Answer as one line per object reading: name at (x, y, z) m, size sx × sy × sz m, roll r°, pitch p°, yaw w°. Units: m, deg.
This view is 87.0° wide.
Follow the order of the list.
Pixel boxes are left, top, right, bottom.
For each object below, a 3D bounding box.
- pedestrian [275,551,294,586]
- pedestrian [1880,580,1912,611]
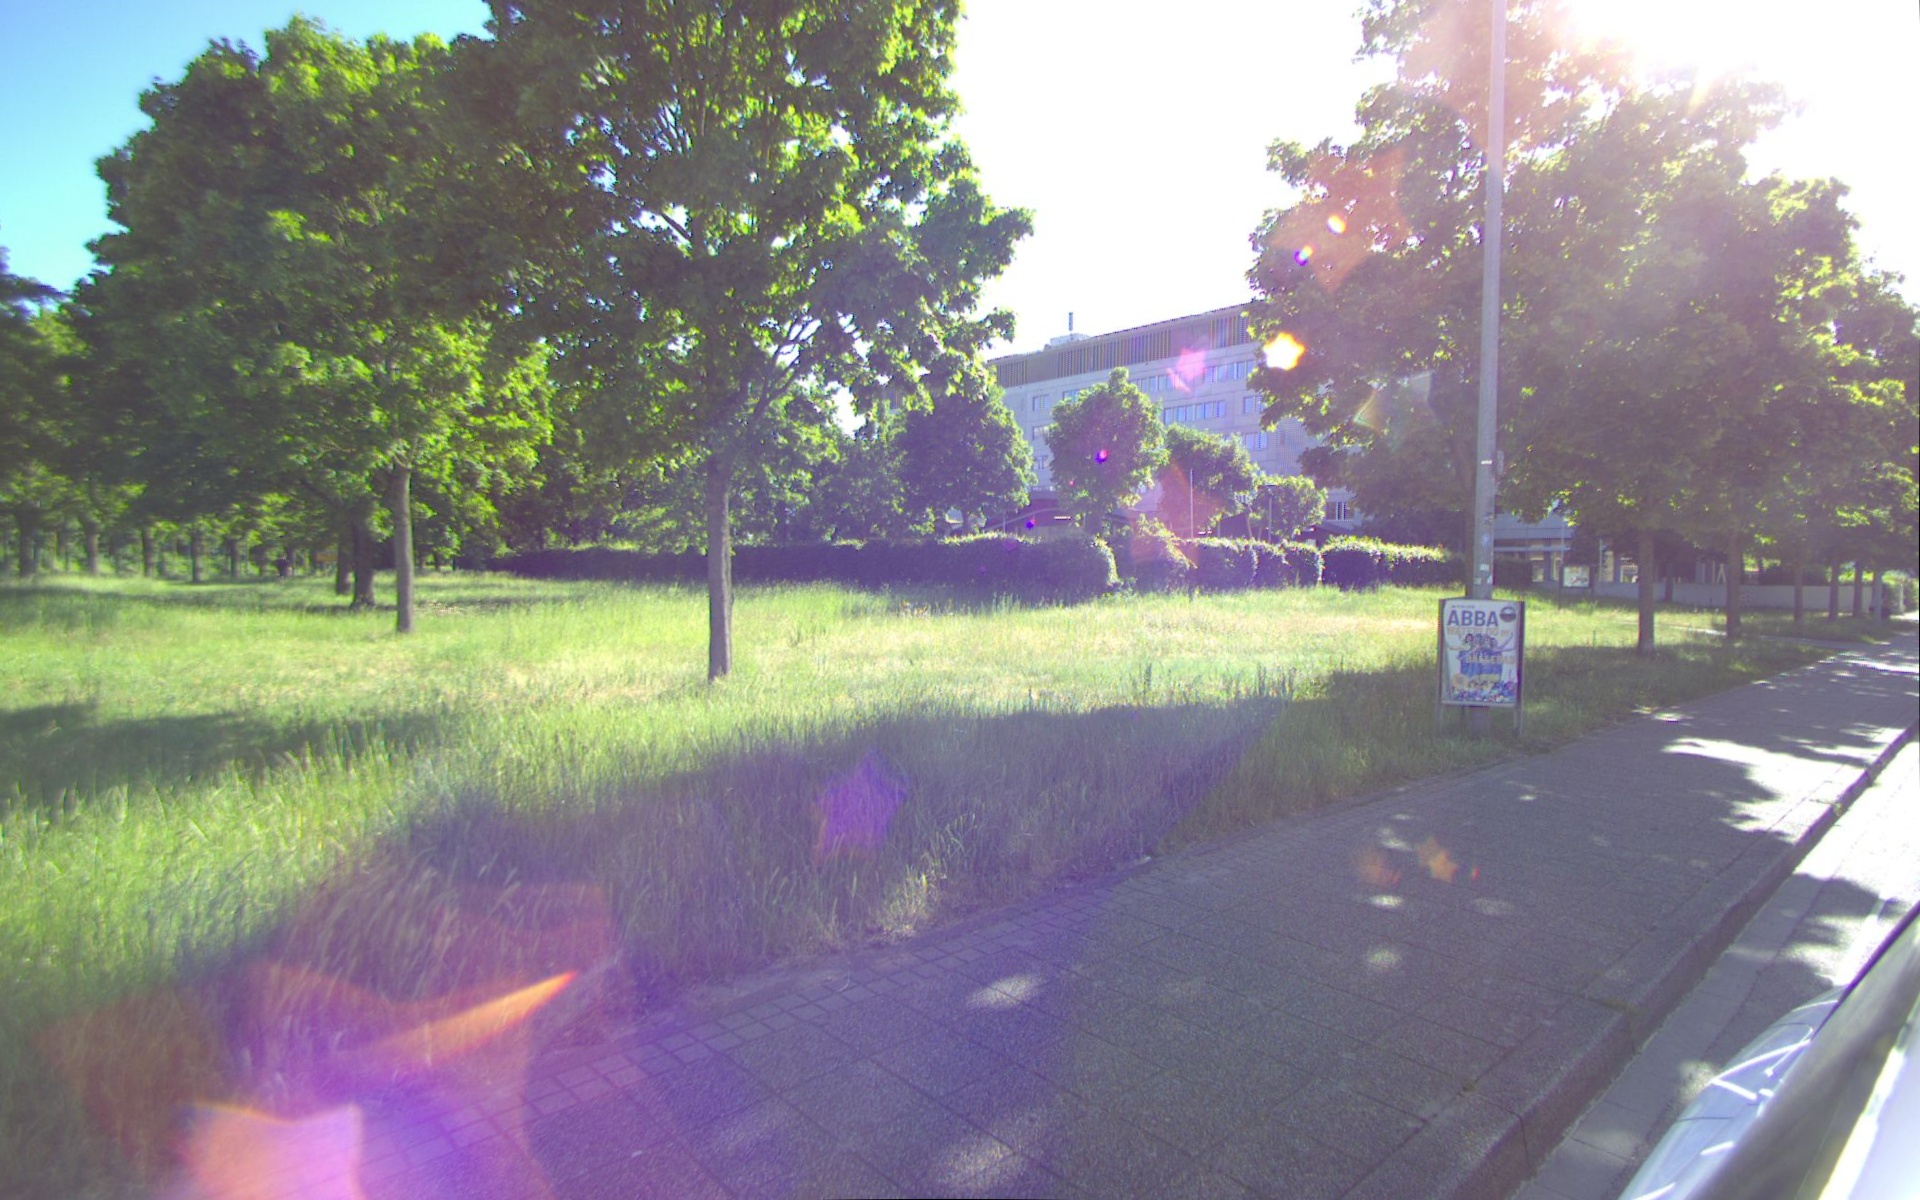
pedestrian at (-33.909, -1.573, 50.826) m, size 0.726 × 1.748 × 0.888 m, roll 0°, pitch 1°, yaw -38°
pedestrian at (39.161, -0.197, 42.362) m, size 0.842 × 1.232 × 0.719 m, roll 3°, pitch 2°, yaw 36°
